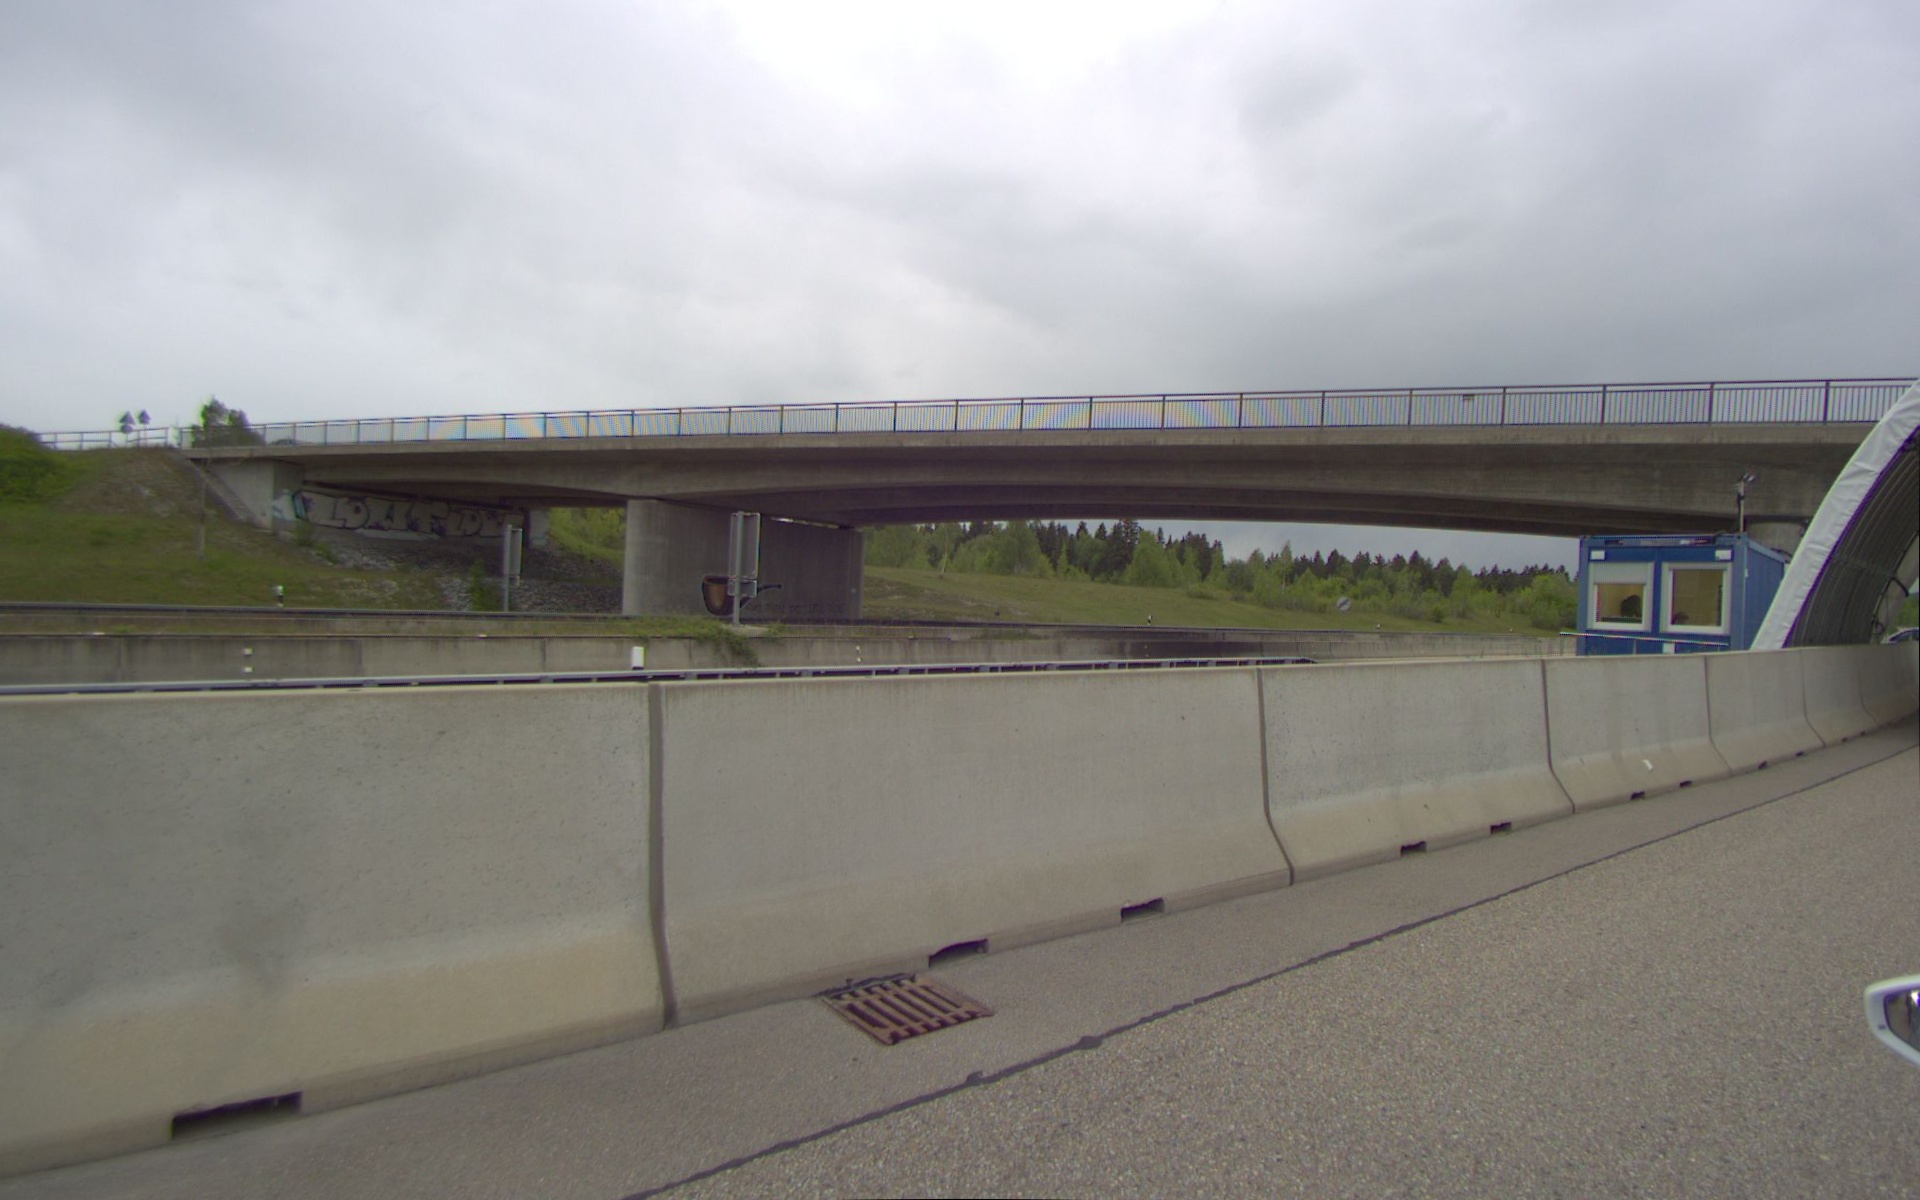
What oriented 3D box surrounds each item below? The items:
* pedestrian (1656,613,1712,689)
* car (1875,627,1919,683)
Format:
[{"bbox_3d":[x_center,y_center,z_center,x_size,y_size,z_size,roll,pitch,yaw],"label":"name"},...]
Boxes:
[{"bbox_3d":[13.629,0.953,18.912,0.618,1.391,0.609,2,-1,-21],"label":"pedestrian"},{"bbox_3d":[36.656,2.052,36.453,1.814,2.040,4.797,2,-1,-22],"label":"car"}]
